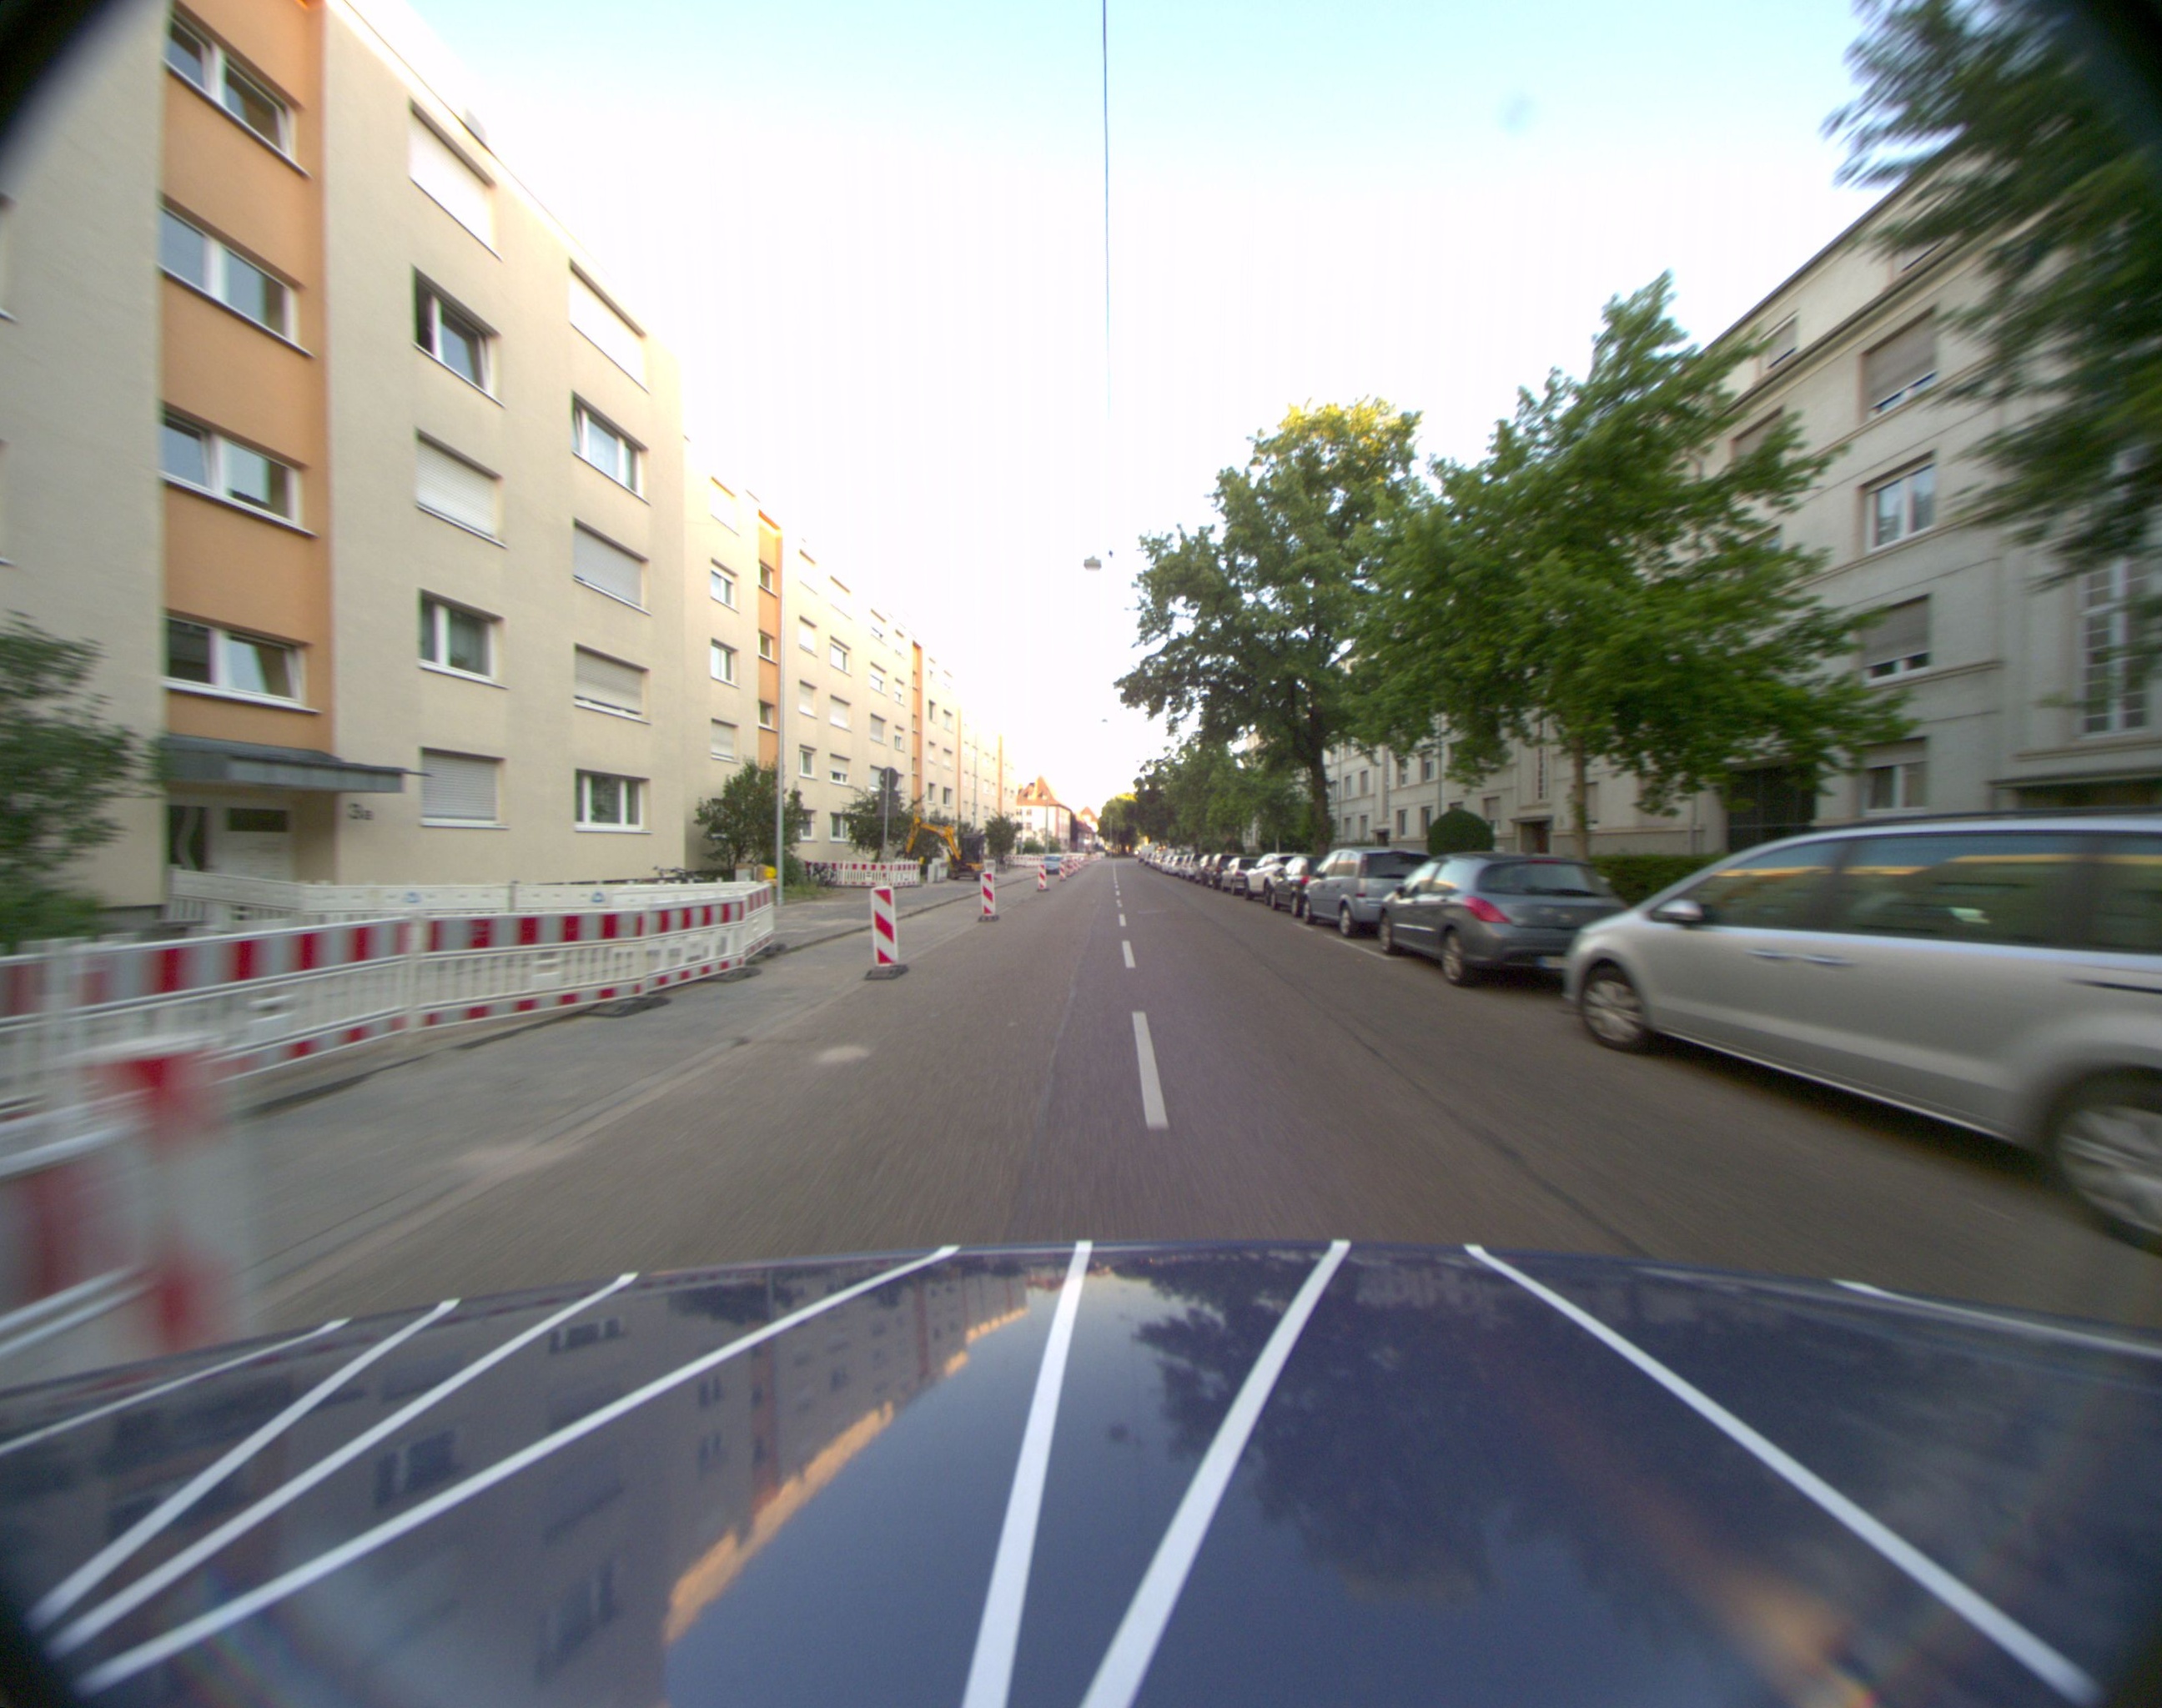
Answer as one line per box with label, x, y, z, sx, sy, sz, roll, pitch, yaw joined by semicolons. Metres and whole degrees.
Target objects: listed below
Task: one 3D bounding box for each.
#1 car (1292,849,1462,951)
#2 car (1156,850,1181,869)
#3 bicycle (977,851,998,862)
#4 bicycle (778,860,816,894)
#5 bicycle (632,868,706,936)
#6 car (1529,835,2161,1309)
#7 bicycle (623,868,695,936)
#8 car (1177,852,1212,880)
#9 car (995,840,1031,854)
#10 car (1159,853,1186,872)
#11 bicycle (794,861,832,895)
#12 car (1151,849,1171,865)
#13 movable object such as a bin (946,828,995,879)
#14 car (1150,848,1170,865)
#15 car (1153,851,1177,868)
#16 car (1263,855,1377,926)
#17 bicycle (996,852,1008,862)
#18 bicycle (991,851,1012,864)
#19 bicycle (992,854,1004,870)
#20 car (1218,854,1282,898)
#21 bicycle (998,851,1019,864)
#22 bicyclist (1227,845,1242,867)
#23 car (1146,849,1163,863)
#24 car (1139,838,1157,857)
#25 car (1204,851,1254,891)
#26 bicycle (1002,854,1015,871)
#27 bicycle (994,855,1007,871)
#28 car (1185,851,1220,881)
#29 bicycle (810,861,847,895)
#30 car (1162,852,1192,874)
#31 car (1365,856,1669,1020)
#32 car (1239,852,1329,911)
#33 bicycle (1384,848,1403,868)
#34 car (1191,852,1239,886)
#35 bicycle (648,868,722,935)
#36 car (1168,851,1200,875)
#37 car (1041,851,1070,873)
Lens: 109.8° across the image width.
car;5.445;0.744;14.591;1.711;1.591;4.117;3;1;2
car;7.685;0.473;66.835;1.678;1.451;3.704;3;1;0
bicycle;-8.653;0.225;70.031;1.821;0.916;0.556;4;2;-38
bicycle;-10.228;0.799;27.449;0.557;1.165;1.817;0;1;5
bicycle;-8.147;0.918;15.109;0.399;1.215;1.911;0;1;0
car;4.800;0.789;4.113;1.851;1.681;4.858;2;1;1
bicycle;-8.395;0.922;15.187;0.399;1.215;1.826;0;1;0
car;6.845;0.698;46.034;1.594;1.496;3.799;3;1;2
car;-10.301;-1.056;115.090;5.029;2.117;2.291;0;1;10
car;7.435;0.659;62.157;1.678;1.324;4.580;3;1;2
bicycle;-9.629;0.843;27.374;0.557;1.165;1.817;0;1;5
car;8.104;0.315;77.322;1.756;1.471;3.945;3;1;4
movable object such as a bin;-6.056;-0.047;41.872;1.937;2.677;2.893;0;1;7
car;8.483;0.260;81.883;1.756;1.622;4.107;3;1;1
car;7.893;0.493;71.947;1.757;1.471;4.678;3;1;1
car;5.802;0.817;18.898;1.711;1.444;3.843;3;1;3
bicycle;-7.472;0.287;72.057;0.559;0.860;1.610;4;2;-25
bicycle;-7.202;0.303;69.020;1.755;0.981;0.558;5;2;11
bicycle;-6.276;0.615;57.616;0.557;1.165;1.817;0;1;5
car;6.292;0.780;28.701;1.594;1.396;4.181;3;1;2
bicycle;-6.756;0.309;70.739;1.815;1.017;0.558;5;2;3
bicyclist;9.973;0.138;49.518;0.810;1.396;0.973;-1;1;2
car;8.406;0.254;87.325;1.756;1.463;4.224;3;1;4
car;9.369;-0.904;106.483;2.184;2.447;6.103;3;1;2
car;6.372;0.692;32.946;1.526;1.520;3.164;3;1;1
bicycle;-5.351;0.614;56.049;0.558;1.165;1.814;-1;1;-17
bicycle;-5.892;0.633;55.569;0.628;1.165;1.814;-1;1;-14
car;6.679;0.631;41.943;1.593;1.520;2.922;3;1;4
bicycle;-8.918;0.831;26.944;0.557;1.165;1.817;0;1;5
car;7.166;0.628;57.124;1.696;1.451;4.144;3;1;1
car;5.055;0.824;9.585;1.736;1.488;4.272;2;1;7
car;6.119;0.764;23.391;1.594;1.530;4.206;3;1;0
bicycle;18.719;0.230;45.525;0.557;1.223;1.817;0;1;5
car;6.485;0.676;37.127;1.594;1.458;4.101;3;1;1
bicycle;-7.868;0.911;15.188;0.453;1.215;1.911;0;1;0
car;7.052;0.578;52.284;1.696;1.451;4.483;3;1;2
car;-1.951;0.614;60.383;1.780;1.482;4.574;4;1;3
